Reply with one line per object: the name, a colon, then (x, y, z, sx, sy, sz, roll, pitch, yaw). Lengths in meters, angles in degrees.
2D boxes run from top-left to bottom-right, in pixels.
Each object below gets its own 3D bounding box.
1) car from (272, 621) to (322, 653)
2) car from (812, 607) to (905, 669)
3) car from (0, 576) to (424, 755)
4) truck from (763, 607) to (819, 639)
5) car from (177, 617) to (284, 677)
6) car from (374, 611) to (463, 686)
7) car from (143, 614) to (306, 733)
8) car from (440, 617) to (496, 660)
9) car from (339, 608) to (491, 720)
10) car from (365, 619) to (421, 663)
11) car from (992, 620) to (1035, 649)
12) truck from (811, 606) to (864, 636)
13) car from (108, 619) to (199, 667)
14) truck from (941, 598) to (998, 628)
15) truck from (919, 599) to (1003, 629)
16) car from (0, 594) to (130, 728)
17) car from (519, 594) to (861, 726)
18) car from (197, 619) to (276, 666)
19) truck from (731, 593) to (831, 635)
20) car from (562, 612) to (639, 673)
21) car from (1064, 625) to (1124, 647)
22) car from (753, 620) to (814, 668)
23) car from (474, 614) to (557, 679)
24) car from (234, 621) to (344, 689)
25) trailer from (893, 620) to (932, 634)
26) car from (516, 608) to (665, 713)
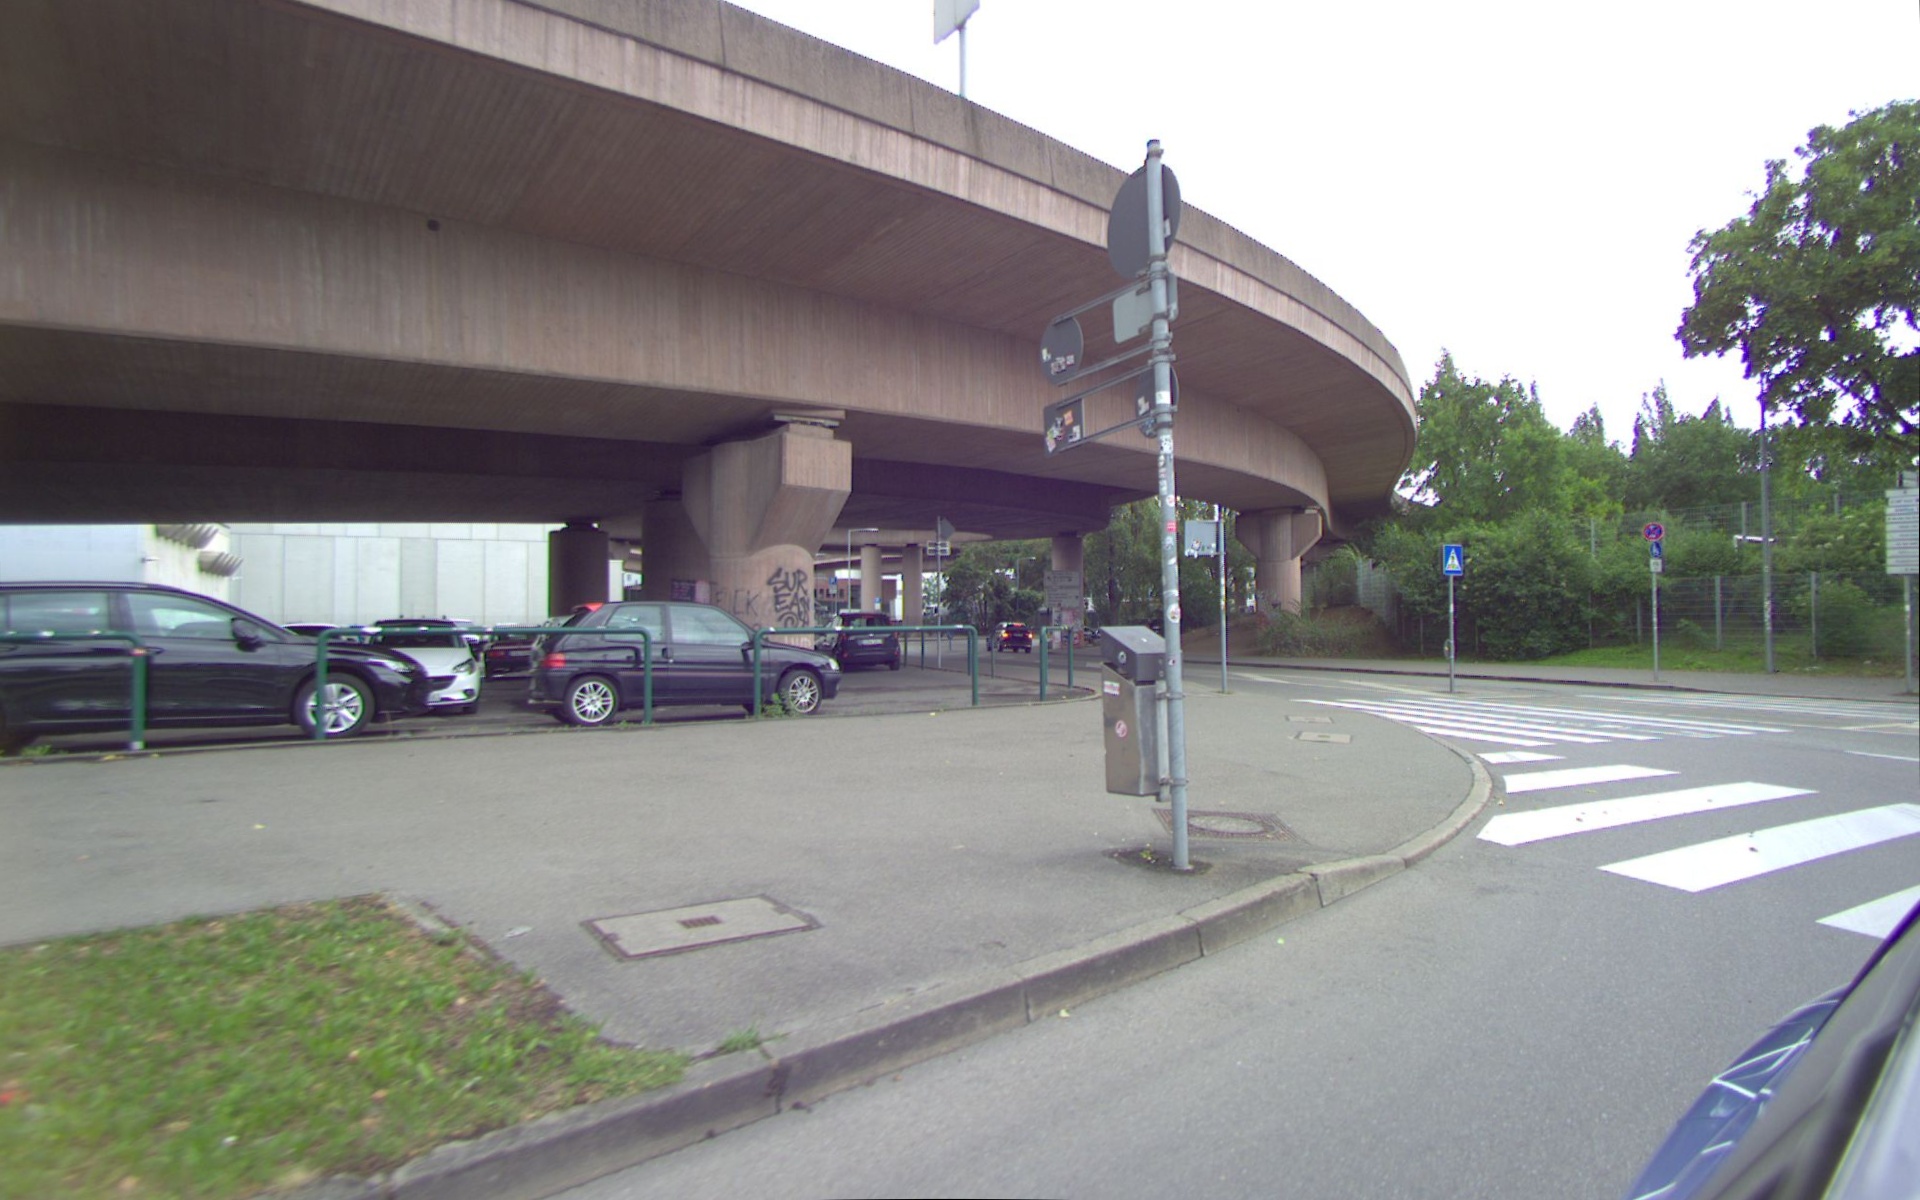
car: (-33.724, 1.847, 51.556, 1.733, 1.553, 3.980, 1, -2, -28)
car: (-2.639, 0.933, 25.735, 1.577, 1.415, 3.586, -1, -1, -18)
car: (-7.293, 0.562, 9.270, 4.163, 1.439, 1.511, 0, -3, -30)
truck: (-15.814, 2.177, 95.174, 2.430, 2.923, 6.071, -1, -2, 22)
car: (-19.797, 1.231, 27.628, 1.801, 1.484, 4.196, 1, -2, -28)
car: (-13.522, 1.154, 25.309, 1.801, 1.720, 3.866, 1, -2, -28)
car: (-10.502, 0.959, 14.584, 1.666, 1.462, 3.861, 1, -2, -35)
car: (-19.690, 1.504, 40.418, 1.801, 1.613, 4.196, 1, -2, -28)
car: (-8.649, 0.922, 15.898, 1.666, 1.529, 3.861, 1, -2, -35)
car: (-21.976, 1.572, 39.321, 1.801, 1.613, 4.196, 1, -2, -28)
car: (2.943, 1.902, 56.797, 1.808, 1.594, 4.553, 0, -1, -5)
truck: (-11.620, 2.010, 96.749, 2.391, 2.779, 7.195, -1, -2, 17)
car: (-28.740, 1.494, 36.197, 1.801, 1.613, 4.196, 1, -2, -28)
truck: (1.126, 1.548, 118.026, 6.278, 3.452, 2.275, 1, -1, -23)
truck: (0.146, 1.717, 121.434, 10.004, 3.543, 2.274, 1, -1, -25)
car: (-12.349, 0.755, 13.471, 1.666, 1.575, 3.861, 1, -2, -35)
car: (-3.149, 0.655, 11.891, 3.624, 1.347, 1.511, 0, -4, -29)
car: (-26.356, 1.524, 36.996, 1.801, 1.613, 4.196, 1, -2, -28)
truck: (-19.411, 1.594, 109.776, 9.926, 4.423, 3.918, 1, -3, -26)
car: (-9.989, 1.136, 27.999, 1.500, 1.519, 3.378, -2, -1, -28)
car: (9.463, 2.529, 71.029, 1.820, 1.449, 4.700, -4, -4, 42)
car: (-6.218, 1.492, 35.398, 1.577, 1.553, 3.416, -1, -1, -18)
car: (-11.549, 1.160, 26.294, 1.800, 1.489, 4.386, -1, -1, -24)
car: (-15.778, 1.237, 23.972, 1.801, 1.446, 3.866, 1, -2, -28)
trailer: (-4.794, 2.717, 103.101, 1.597, 1.348, 4.322, 0, 0, 38)
car: (-6.389, 0.944, 17.248, 1.606, 1.572, 4.013, 1, -2, -31)
